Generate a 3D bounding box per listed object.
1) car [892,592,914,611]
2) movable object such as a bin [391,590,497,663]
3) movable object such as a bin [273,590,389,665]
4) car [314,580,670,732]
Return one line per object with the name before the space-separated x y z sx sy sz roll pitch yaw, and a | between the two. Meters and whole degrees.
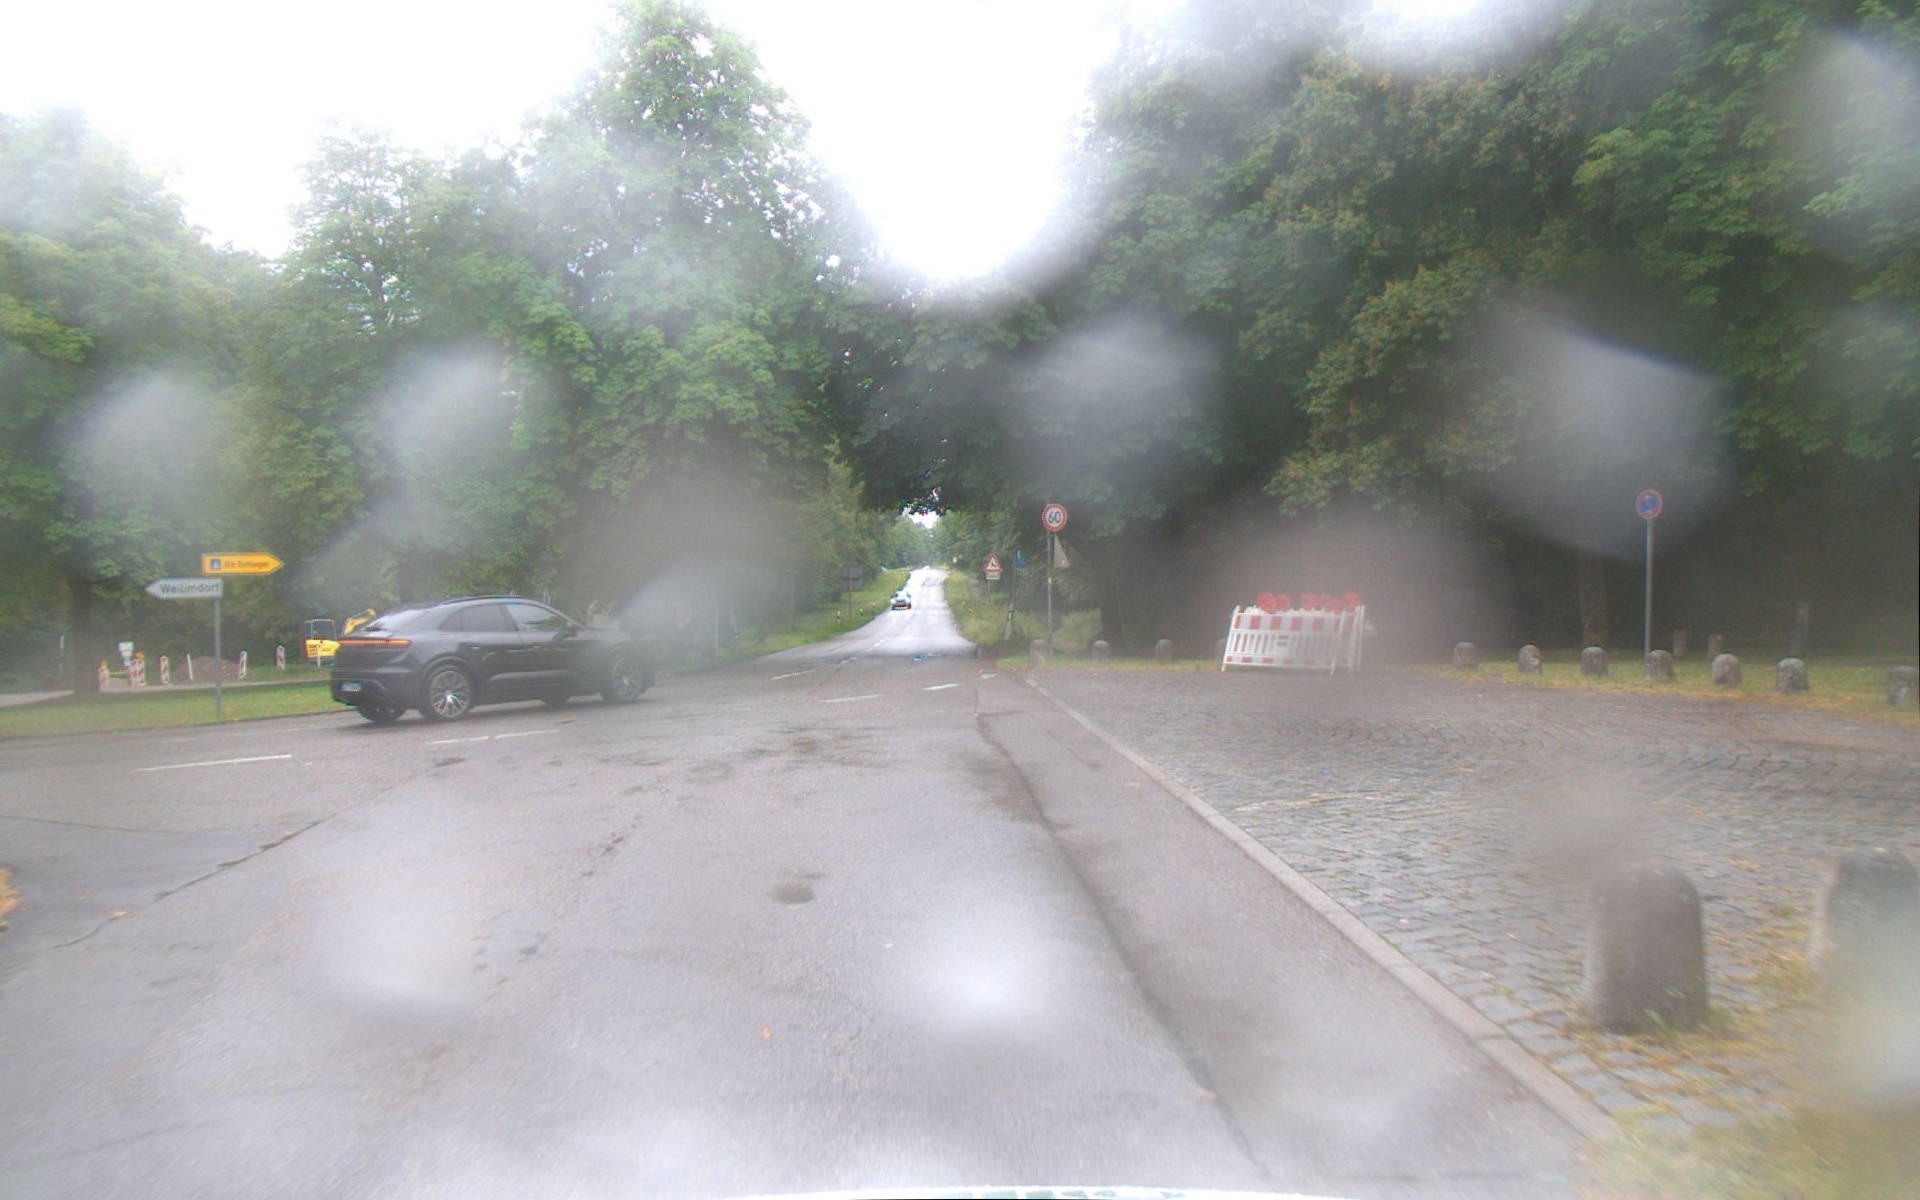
car | -5.448 0.133 157.372 1.953 1.747 3.999 -2 0 -1
movable object such as a bin | -25.391 1.287 81.584 4.501 3.351 3.655 -2 0 -12
movable object such as a bin | -30.283 1.278 79.855 4.573 3.351 3.902 -2 0 -12
car | -6.472 0.708 23.269 1.702 1.738 4.546 -2 2 43
